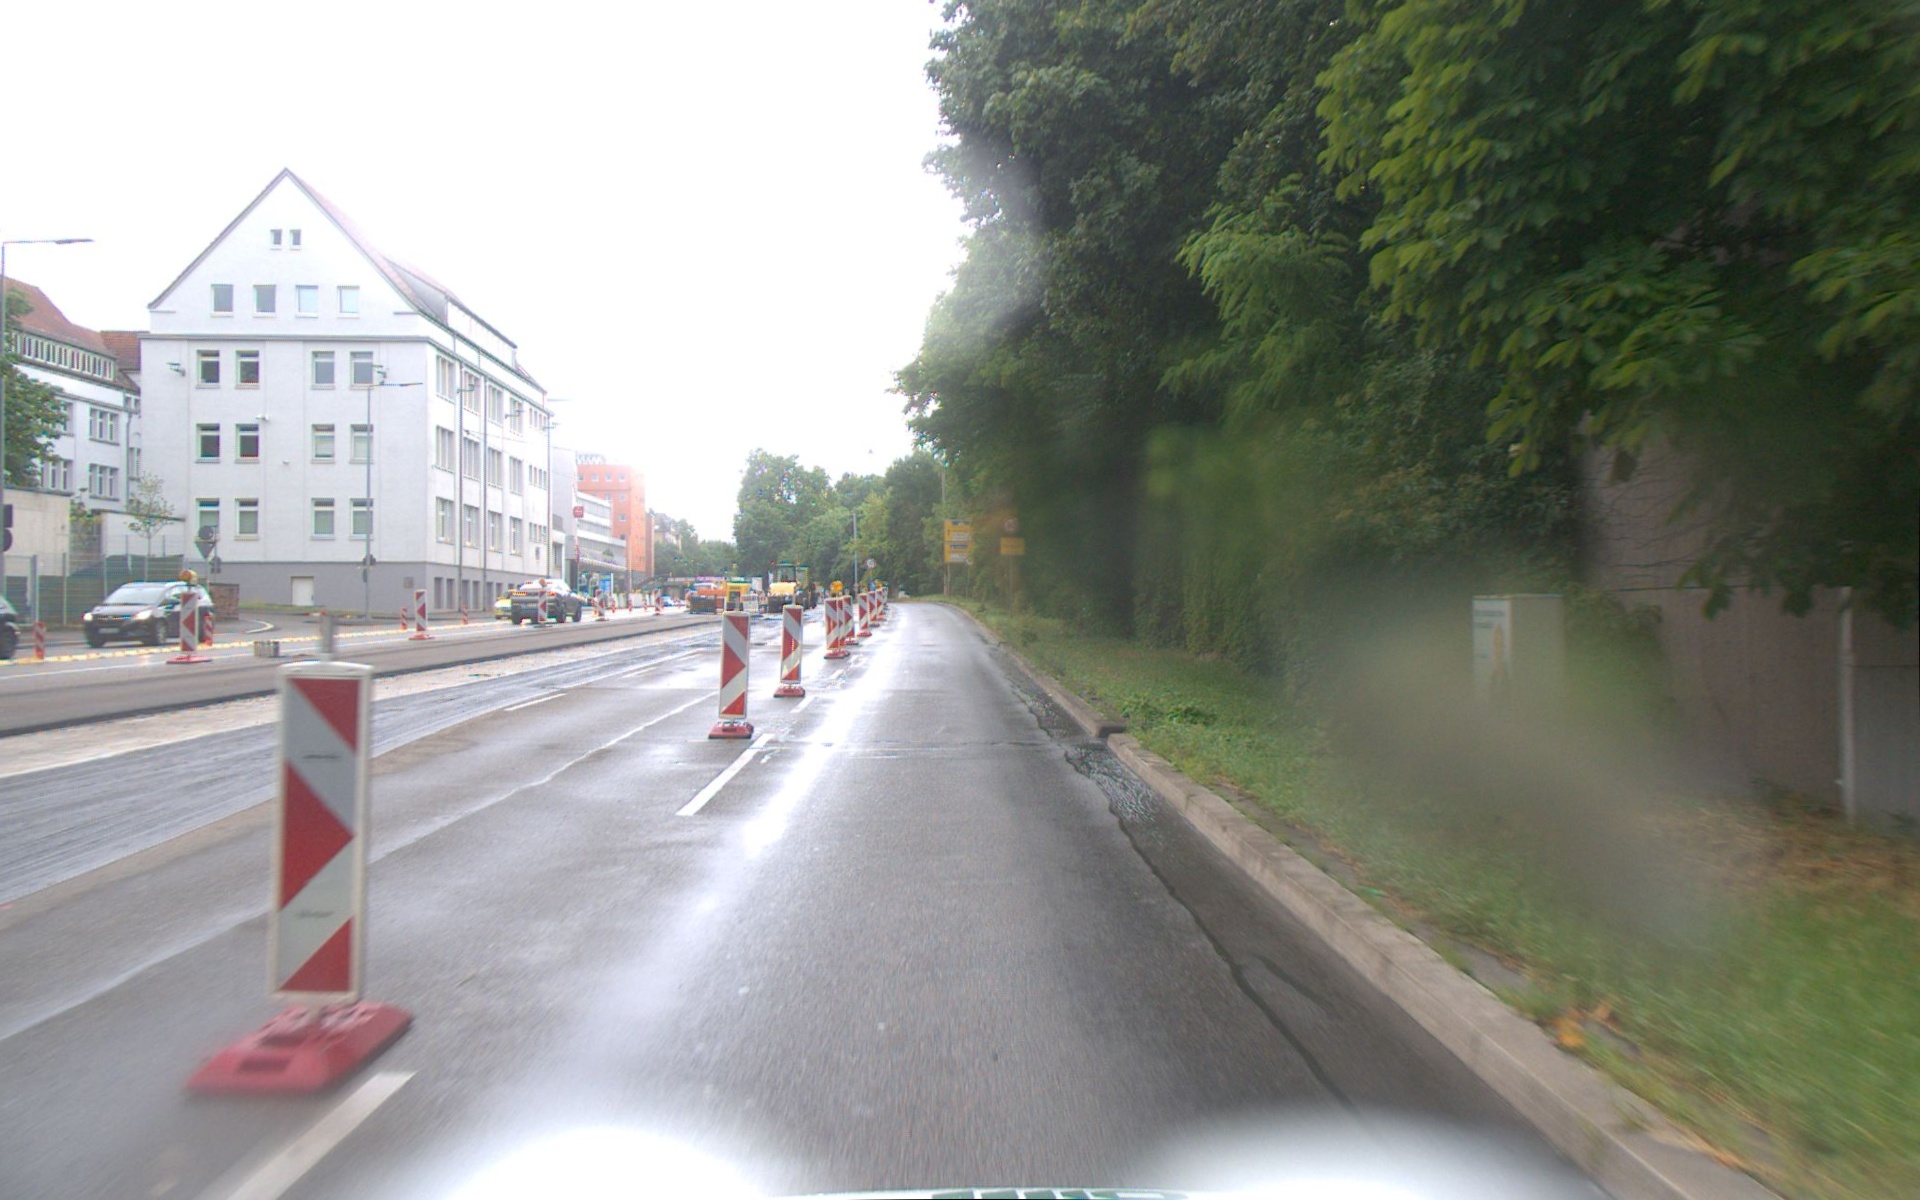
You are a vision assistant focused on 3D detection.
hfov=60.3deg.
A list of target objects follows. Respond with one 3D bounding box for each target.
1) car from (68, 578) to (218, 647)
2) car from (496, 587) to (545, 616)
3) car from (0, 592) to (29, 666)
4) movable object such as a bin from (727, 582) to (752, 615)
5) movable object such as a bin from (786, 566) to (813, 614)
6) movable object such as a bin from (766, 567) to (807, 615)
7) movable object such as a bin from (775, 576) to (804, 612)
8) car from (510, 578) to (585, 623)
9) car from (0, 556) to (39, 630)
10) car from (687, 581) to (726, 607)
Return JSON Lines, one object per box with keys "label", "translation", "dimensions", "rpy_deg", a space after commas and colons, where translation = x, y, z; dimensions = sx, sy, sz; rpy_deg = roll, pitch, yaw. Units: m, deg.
{"label": "car", "translation": [-21.511, 0.303, 43.752], "dimensions": [1.821, 1.658, 4.328], "rpy_deg": [-2, 0, -1]}
{"label": "car", "translation": [-22.282, 0.076, 83.881], "dimensions": [1.522, 1.392, 3.804], "rpy_deg": [-2, 0, -2]}
{"label": "car", "translation": [-20.366, 0.628, 32.664], "dimensions": [1.821, 1.501, 3.731], "rpy_deg": [-2, 0, -1]}
{"label": "movable object such as a bin", "translation": [-11.359, -0.071, 85.352], "dimensions": [1.061, 1.673, 2.438], "rpy_deg": [0, 0, -2]}
{"label": "movable object such as a bin", "translation": [-10.547, -0.660, 108.726], "dimensions": [1.436, 3.061, 3.722], "rpy_deg": [-2, 1, -3]}
{"label": "movable object such as a bin", "translation": [-9.843, -0.528, 94.075], "dimensions": [1.864, 2.654, 5.381], "rpy_deg": [-1, 1, -1]}
{"label": "movable object such as a bin", "translation": [-10.294, -0.372, 100.068], "dimensions": [1.335, 2.126, 5.028], "rpy_deg": [-1, 1, -1]}
{"label": "car", "translation": [-15.999, 0.022, 64.369], "dimensions": [1.854, 1.679, 4.395], "rpy_deg": [0, 0, 0]}
{"label": "car", "translation": [-29.532, -0.210, 49.676], "dimensions": [1.577, 2.208, 3.999], "rpy_deg": [0, 0, -2]}
{"label": "car", "translation": [-16.636, -0.412, 108.717], "dimensions": [1.854, 1.679, 4.395], "rpy_deg": [0, 0, 0]}
